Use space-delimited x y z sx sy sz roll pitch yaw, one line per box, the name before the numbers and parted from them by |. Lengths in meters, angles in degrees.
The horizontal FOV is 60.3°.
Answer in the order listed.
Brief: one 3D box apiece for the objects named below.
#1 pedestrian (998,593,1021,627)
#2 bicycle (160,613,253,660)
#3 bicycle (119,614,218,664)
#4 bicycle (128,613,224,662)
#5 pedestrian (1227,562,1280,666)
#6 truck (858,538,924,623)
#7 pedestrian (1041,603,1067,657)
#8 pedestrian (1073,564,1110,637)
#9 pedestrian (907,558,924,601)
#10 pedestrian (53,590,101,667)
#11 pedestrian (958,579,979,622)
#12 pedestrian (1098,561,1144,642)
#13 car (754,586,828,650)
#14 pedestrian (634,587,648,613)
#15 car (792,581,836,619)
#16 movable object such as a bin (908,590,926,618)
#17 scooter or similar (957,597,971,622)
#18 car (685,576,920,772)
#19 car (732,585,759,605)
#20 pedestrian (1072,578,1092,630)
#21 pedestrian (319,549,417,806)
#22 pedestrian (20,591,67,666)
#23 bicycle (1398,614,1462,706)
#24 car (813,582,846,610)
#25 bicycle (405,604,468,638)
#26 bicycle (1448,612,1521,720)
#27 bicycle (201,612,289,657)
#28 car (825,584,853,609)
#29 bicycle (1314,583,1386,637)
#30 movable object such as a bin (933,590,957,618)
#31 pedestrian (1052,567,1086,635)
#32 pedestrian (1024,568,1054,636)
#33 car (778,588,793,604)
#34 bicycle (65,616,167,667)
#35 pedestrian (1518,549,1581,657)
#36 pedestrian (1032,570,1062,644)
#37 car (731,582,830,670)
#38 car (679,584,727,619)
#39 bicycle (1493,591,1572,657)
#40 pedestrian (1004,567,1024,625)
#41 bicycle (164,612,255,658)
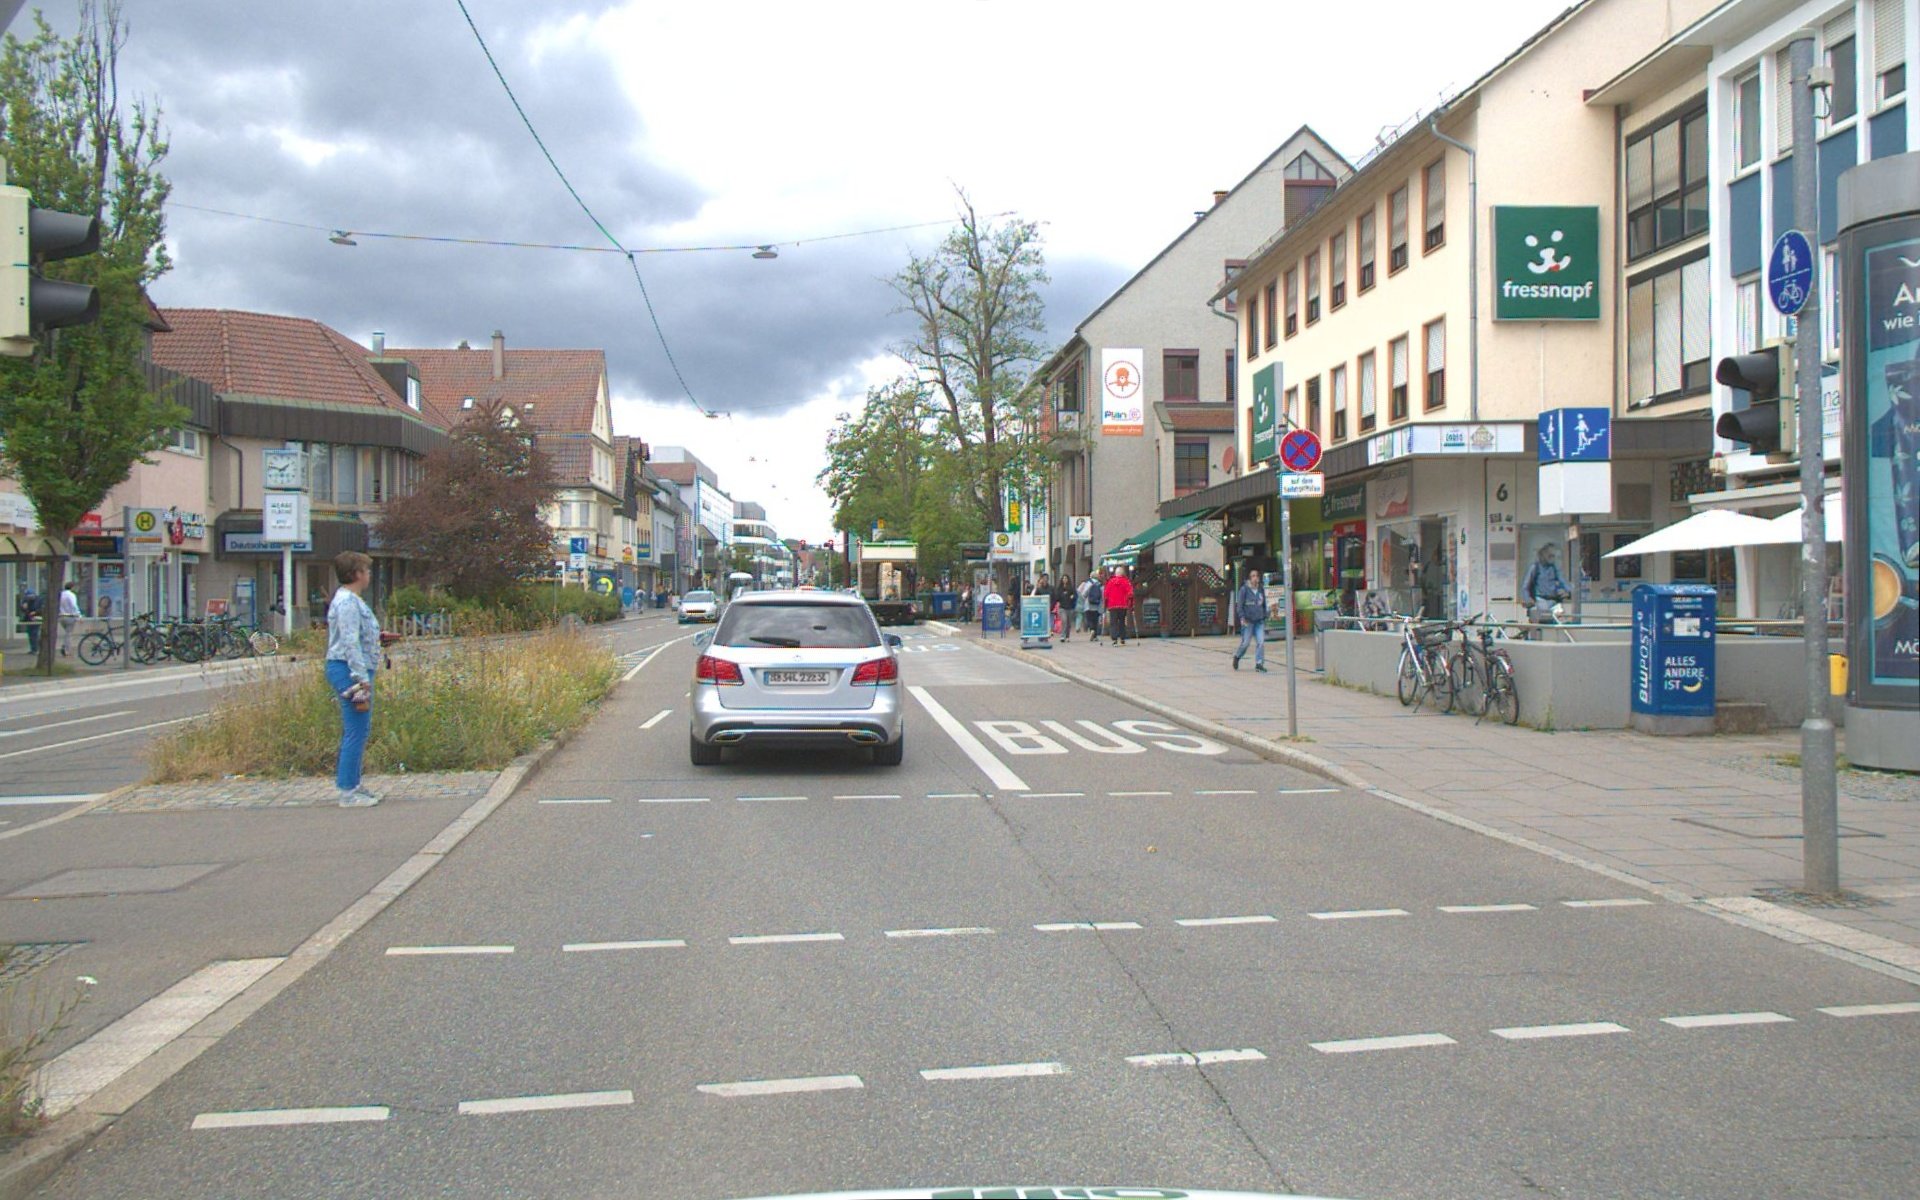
pedestrian | 1.751 0.341 58.605 0.699 1.186 0.586 0 1 -11
bicycle | -18.610 0.905 40.879 1.984 1.109 0.646 -1 0 -14
bicycle | -18.470 0.897 38.623 1.980 1.109 0.648 -1 0 -9
bicycle | -18.785 0.889 39.654 1.984 1.109 0.646 -1 0 -14
pedestrian | 4.770 0.218 26.902 0.674 1.663 0.853 -1 1 -2
truck | -3.250 -0.898 75.658 2.636 3.623 9.758 -1 1 -4
pedestrian | 2.821 0.906 49.754 0.658 1.594 0.492 1 2 16
pedestrian | 3.273 0.020 41.265 0.670 1.772 0.780 -2 -1 -10
pedestrian | -1.881 -0.857 70.073 0.601 1.811 0.587 -1 -1 -8
pedestrian | -21.253 0.675 39.818 0.712 1.794 0.754 2 0 -7
pedestrian | 0.337 0.008 64.655 0.528 1.663 0.582 2 0 -29
pedestrian | 3.627 0.040 37.255 0.780 1.772 0.780 -2 -1 -10
car | -4.767 0.468 47.103 1.954 1.713 3.997 0 0 -4
pedestrian | -20.476 -0.002 106.295 0.802 1.663 0.978 1 0 -10
car | -6.785 -0.019 77.372 1.954 1.713 3.997 0 0 -4
movable object such as a bin | -2.154 0.206 82.257 0.864 1.363 1.085 -1 0 -2
scooter or similar | 0.165 0.368 64.195 0.349 0.975 0.382 -1 0 45
car | -1.434 0.569 14.992 1.838 1.532 3.995 0 0 -6
car | -20.336 -0.447 157.257 2.027 1.768 4.691 -2 1 -2
pedestrian | 3.940 0.117 53.420 0.574 1.663 0.614 0 0 -3
pedestrian | -3.958 0.496 11.083 0.494 1.663 0.662 -1 0 -11
pedestrian | -22.579 0.686 40.772 0.712 1.794 0.754 2 0 -7
bicycle | 5.416 0.671 19.103 0.268 0.991 1.386 -1 1 -3
car | -8.016 -0.261 101.885 1.954 1.713 3.997 0 0 -4
bicycle | -17.717 0.704 56.041 1.984 1.109 0.646 -1 0 -14
bicycle | 5.574 0.677 17.620 0.268 1.071 1.386 -1 1 -3
bicycle | -18.359 0.876 42.489 1.984 1.109 0.646 -1 0 -14
car | -8.539 -0.277 116.981 1.954 1.713 3.997 0 0 -4
bicycle | 8.201 0.198 34.927 0.727 1.081 2.348 -2 1 -6
movable object such as a bin | -0.750 0.177 82.160 1.120 1.363 1.375 -1 0 -2
pedestrian | 2.697 0.025 41.133 0.705 1.663 0.614 -1 0 -7
pedestrian | 1.966 0.048 41.155 0.601 1.663 0.614 -1 0 -7
car | -18.242 -0.427 172.843 1.540 1.567 2.956 1 0 -7
bicycle | -19.178 0.933 37.634 1.987 1.109 0.645 0 0 -19
pedestrian | 9.207 0.039 25.851 0.653 1.663 0.800 -1 0 -4
pedestrian | 2.048 0.156 38.971 0.600 1.707 0.615 2 0 -2
car | -3.395 0.471 31.874 1.720 1.547 3.997 -1 0 -4
car | -12.018 0.068 77.553 1.837 1.532 4.340 -2 0 -4
bicycle | 8.915 0.356 25.797 0.270 0.991 1.375 -1 1 -26
pedestrian | 1.990 -0.151 61.169 0.600 2.082 0.588 -2 0 9
bicycle | -18.839 0.870 41.557 1.984 1.109 0.646 -1 0 -14
